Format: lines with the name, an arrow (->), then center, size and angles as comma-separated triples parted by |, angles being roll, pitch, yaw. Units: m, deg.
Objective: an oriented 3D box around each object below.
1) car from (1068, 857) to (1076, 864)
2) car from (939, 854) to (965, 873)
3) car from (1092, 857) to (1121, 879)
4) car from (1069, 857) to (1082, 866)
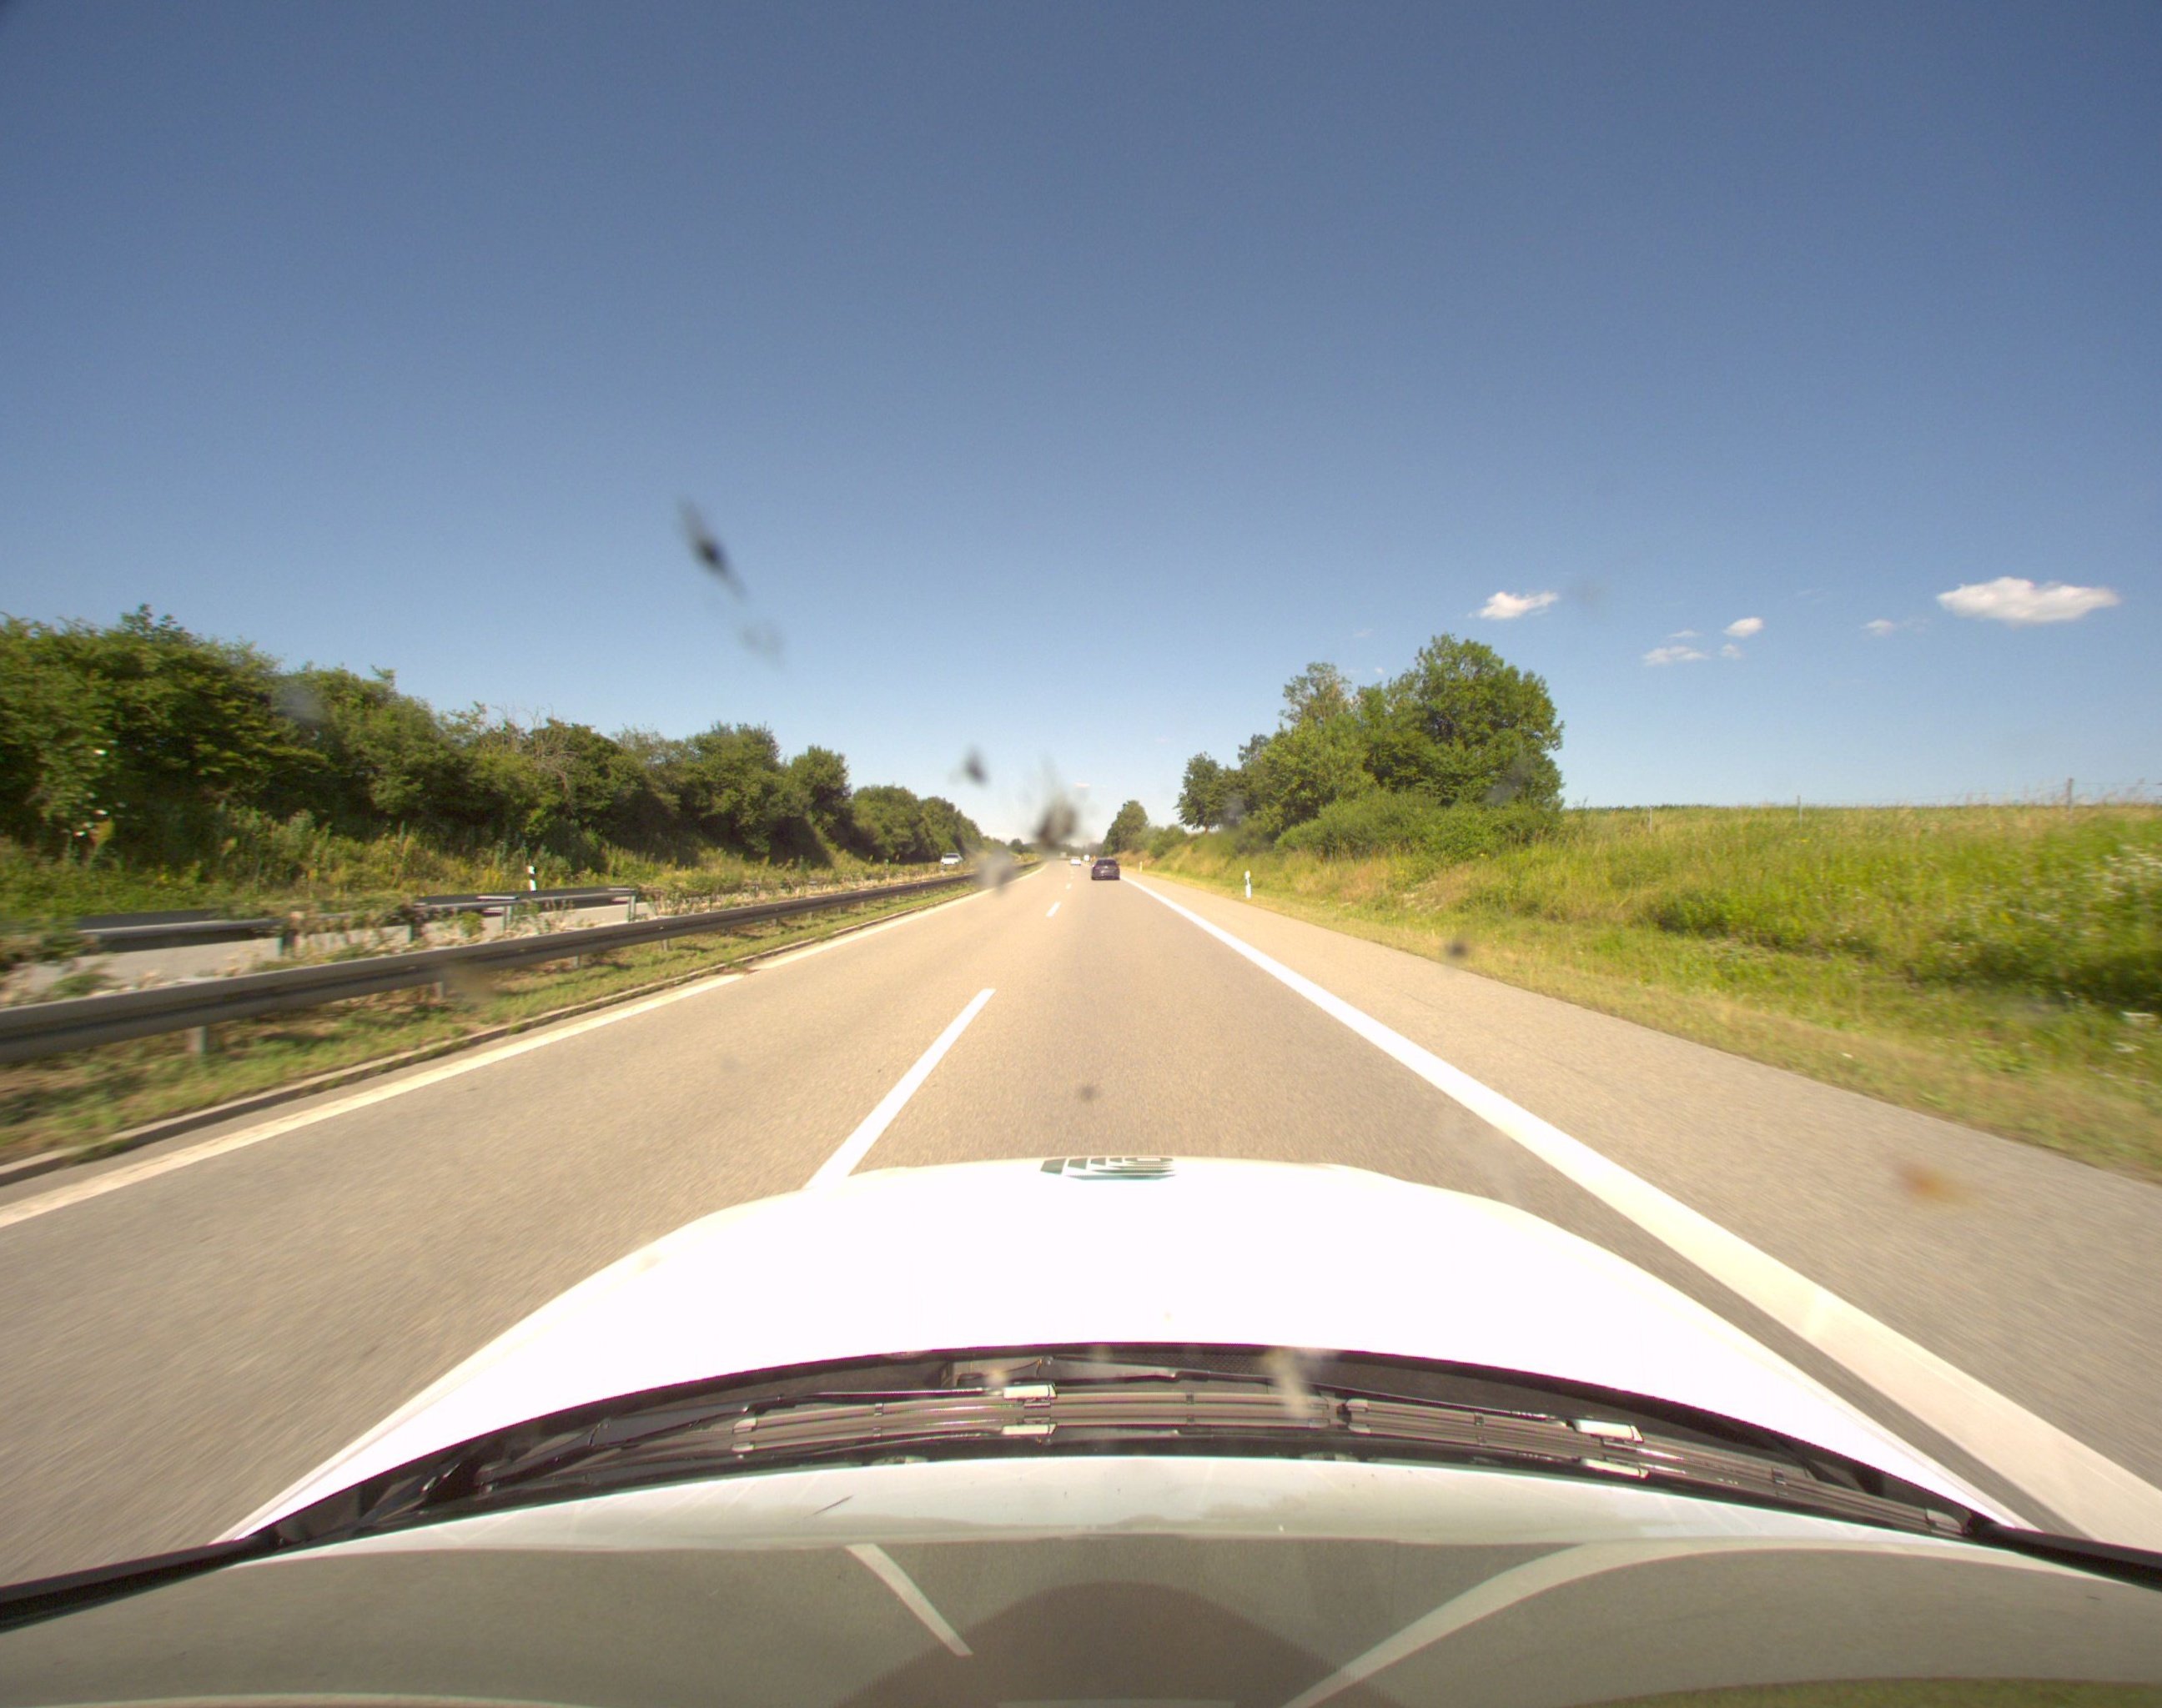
car -> -2.169, 1.551, 193.797 | 1.704, 1.387, 3.355 | 5, -1, 1
car -> -13.815, 0.986, 87.665 | 1.987, 2.014, 4.855 | 0, 0, 0
car -> 1.641, 0.906, 53.486 | 1.785, 1.344, 4.000 | -1, 0, 1
car -> -0.900, 1.323, 141.150 | 2.002, 1.344, 3.995 | 4, -1, -3
